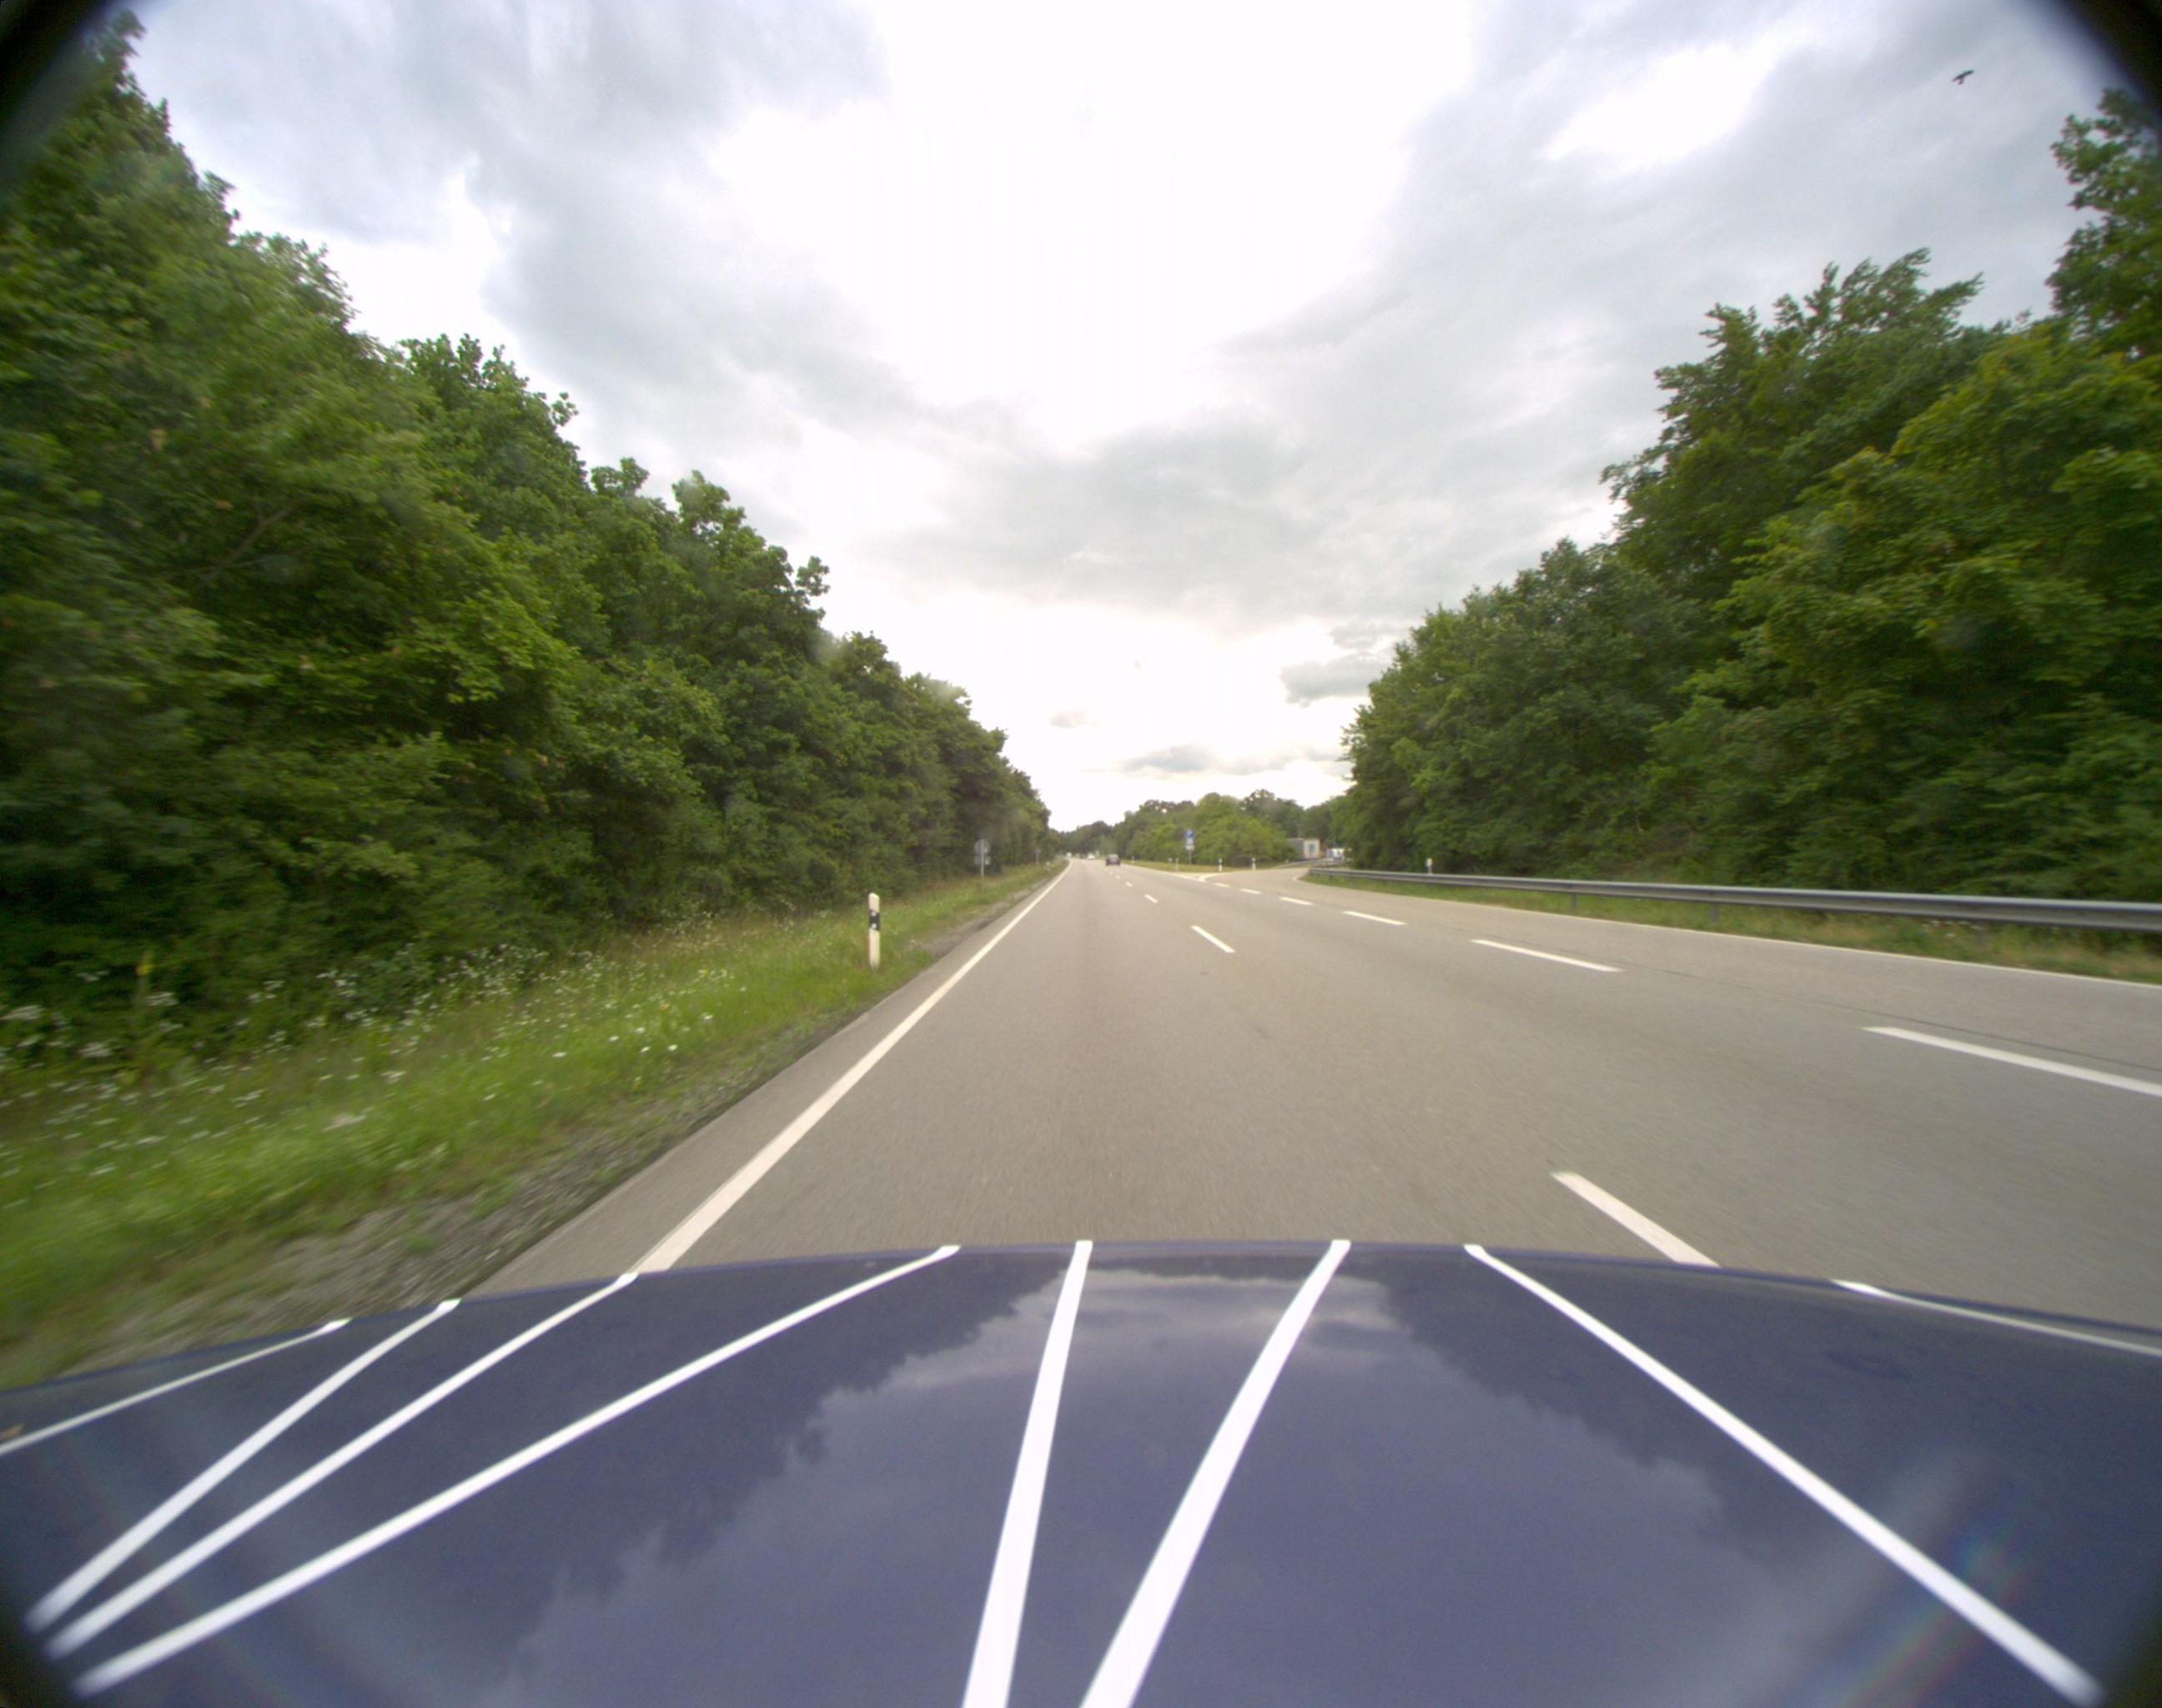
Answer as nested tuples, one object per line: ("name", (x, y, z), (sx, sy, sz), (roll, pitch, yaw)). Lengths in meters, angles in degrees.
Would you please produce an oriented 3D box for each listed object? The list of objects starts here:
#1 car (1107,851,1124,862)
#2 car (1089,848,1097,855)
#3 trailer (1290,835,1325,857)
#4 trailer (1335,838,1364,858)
("car", (4.581, 0.285, 101.443), (1.813, 1.434, 4.446), (-2, 0, -2))
("car", (3.484, -0.746, 219.975), (1.918, 1.770, 4.611), (-2, 0, -1))
("trailer", (35.508, -1.205, 119.160), (4.688, 3.234, 2.000), (-2, 1, 0))
("trailer", (42.567, -0.957, 120.794), (2.485, 2.947, 7.395), (-2, 0, 5))
